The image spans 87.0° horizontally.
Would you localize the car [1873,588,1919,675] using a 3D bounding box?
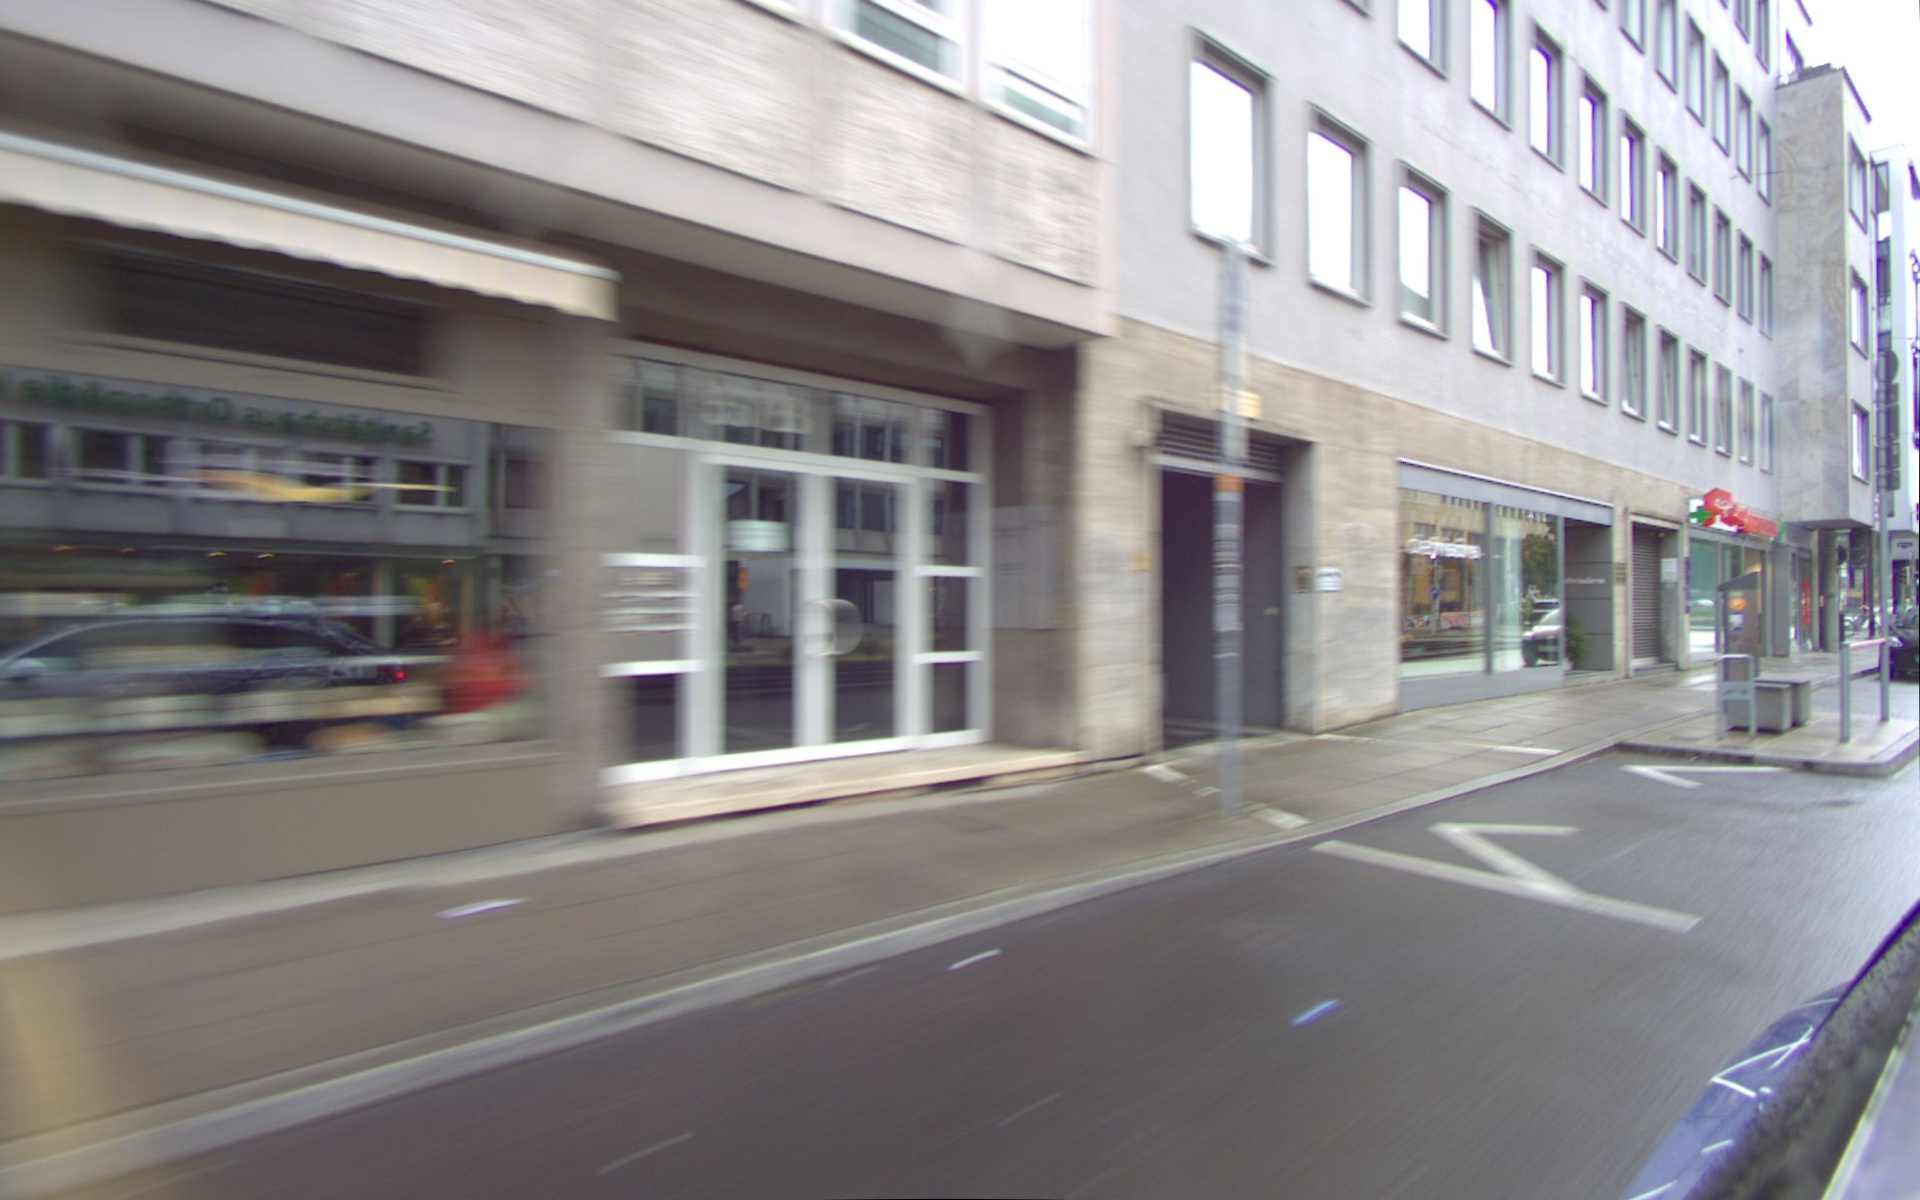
[{"bbox_3d":[19.975,0.584,20.255,4.196,1.614,1.997,-1,1,-40],"label":"car"}]
